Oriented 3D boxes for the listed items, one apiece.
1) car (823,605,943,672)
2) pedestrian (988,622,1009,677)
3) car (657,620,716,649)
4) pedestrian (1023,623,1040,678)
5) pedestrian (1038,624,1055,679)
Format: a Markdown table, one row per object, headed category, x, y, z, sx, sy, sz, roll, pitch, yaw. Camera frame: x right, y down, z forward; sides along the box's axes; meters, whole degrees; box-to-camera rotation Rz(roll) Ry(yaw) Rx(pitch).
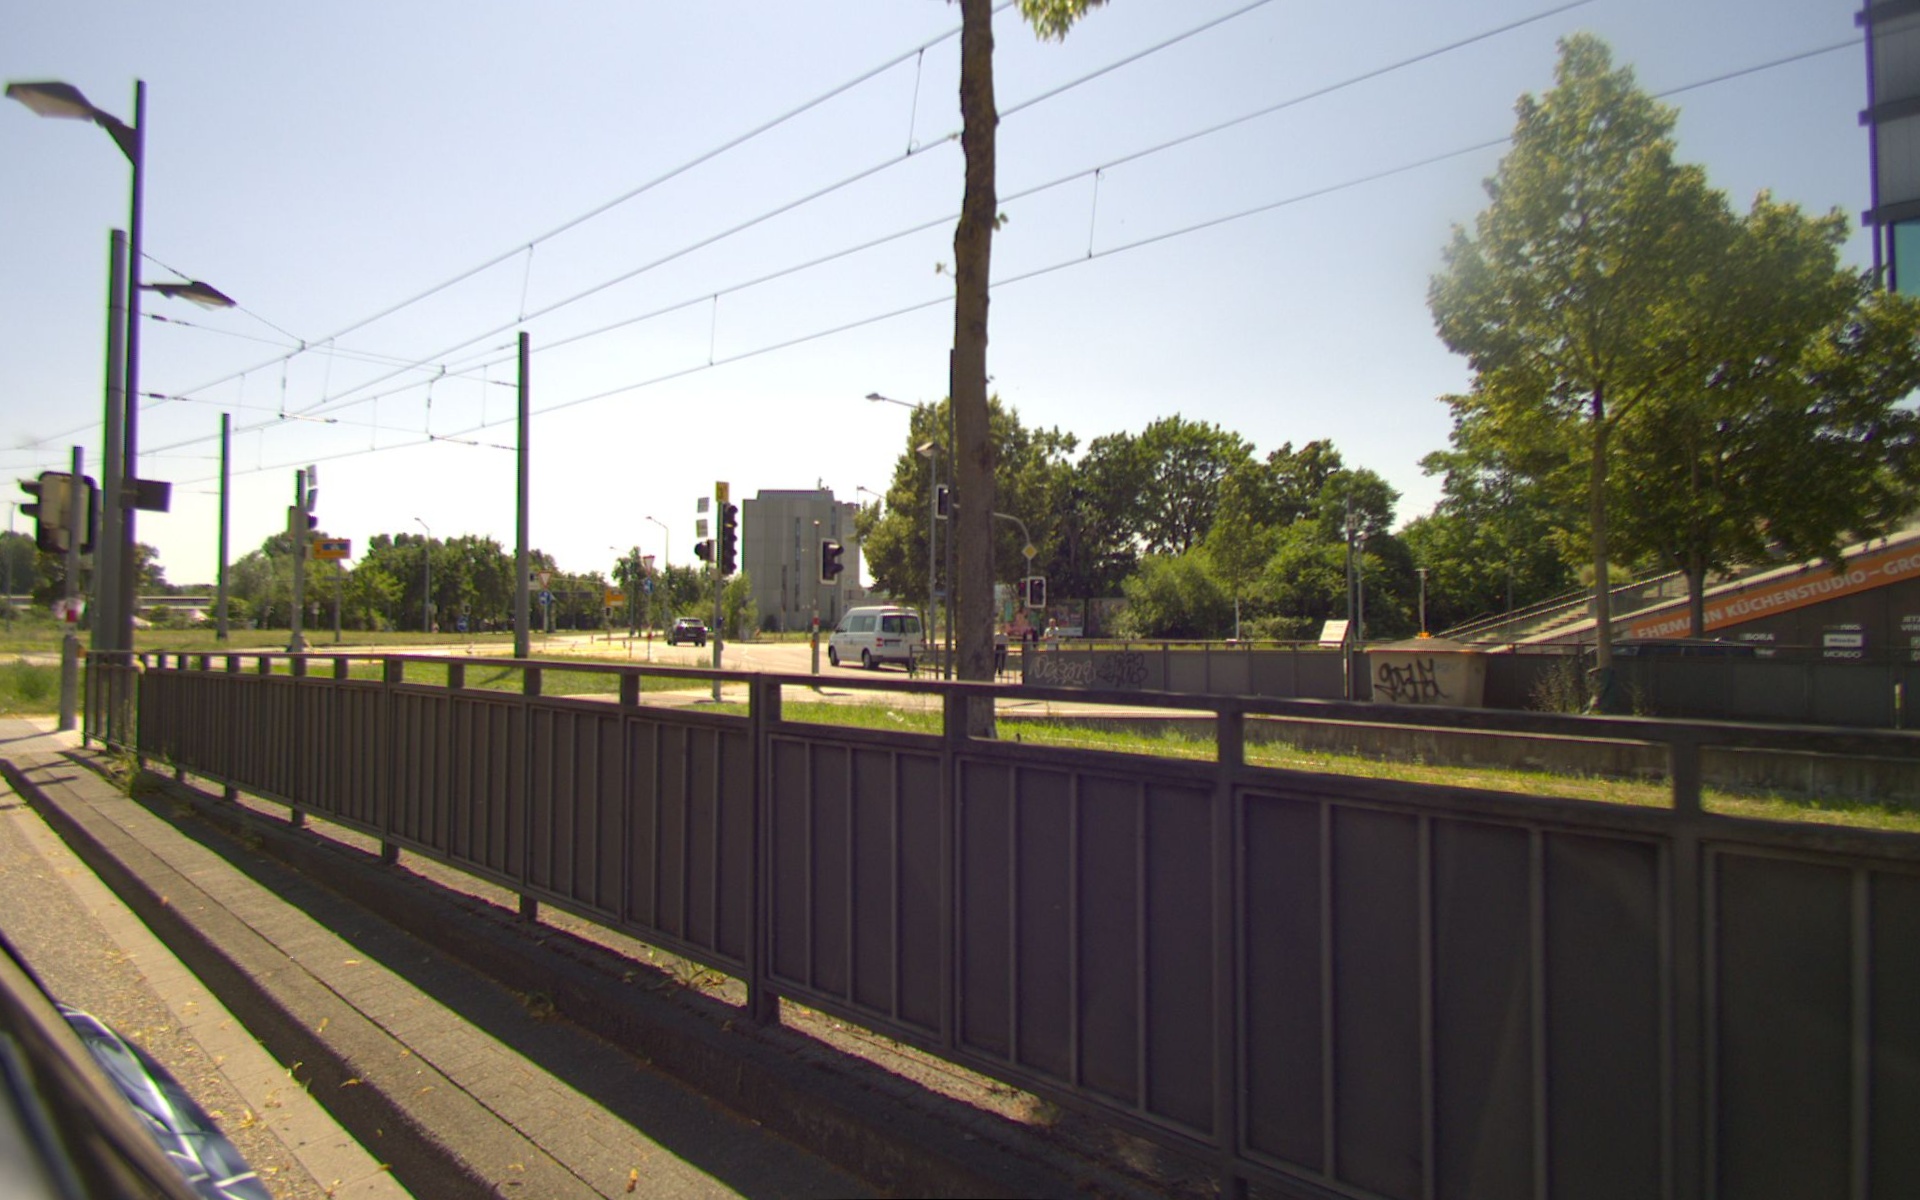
| category | x | y | z | sx | sy | sz | roll | pitch | yaw |
| --- | --- | --- | --- | --- | --- | --- | --- | --- | --- |
| car | -2.804 | 1.377 | 35.258 | 1.966 | 2.122 | 5.559 | 3 | -4 | -29 |
| pedestrian | 1.239 | 1.587 | 32.483 | 0.600 | 1.752 | 0.337 | -1 | -2 | 41 |
| car | -15.245 | 1.886 | 56.204 | 1.965 | 1.529 | 5.855 | 1 | -2 | -27 |
| pedestrian | 2.311 | 1.626 | 32.572 | 0.449 | 1.752 | 0.287 | -1 | -2 | 41 |
| pedestrian | 2.749 | 1.631 | 32.273 | 0.449 | 1.752 | 0.287 | -1 | -2 | 41 |
